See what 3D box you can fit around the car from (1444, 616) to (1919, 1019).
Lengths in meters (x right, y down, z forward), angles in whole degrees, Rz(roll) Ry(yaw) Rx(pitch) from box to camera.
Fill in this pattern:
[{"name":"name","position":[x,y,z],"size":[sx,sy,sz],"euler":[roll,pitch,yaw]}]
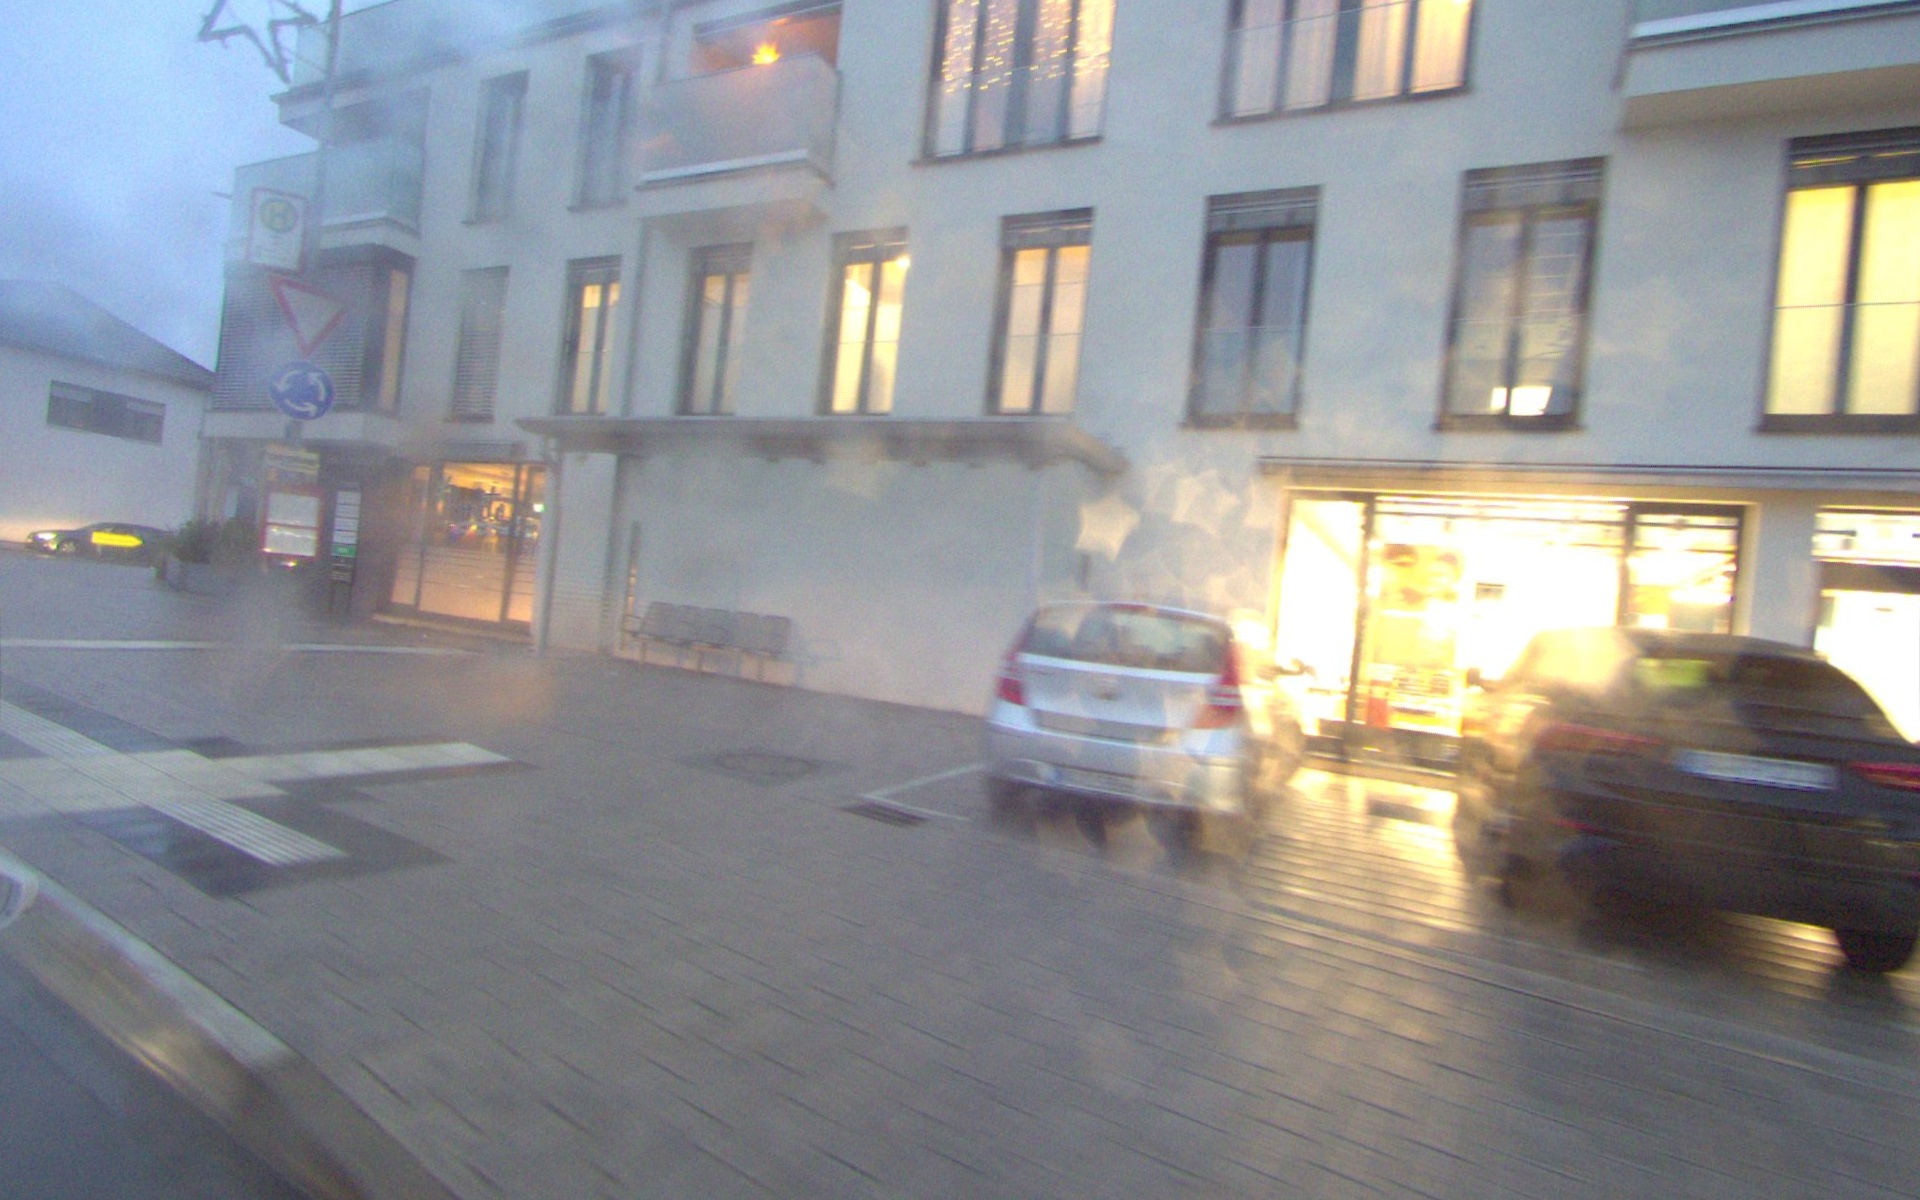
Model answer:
[{"name":"car","position":[4.297,0.944,6.343],"size":[1.939,1.512,4.516],"euler":[5,1,23]}]

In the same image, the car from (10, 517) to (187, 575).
[{"name":"car","position":[-29.844,-1.837,34.989],"size":[1.819,1.399,4.233],"euler":[3,-4,27]}]

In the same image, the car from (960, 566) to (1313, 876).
[{"name":"car","position":[1.578,0.650,7.476],"size":[1.780,1.523,3.996],"euler":[5,1,20]}]
